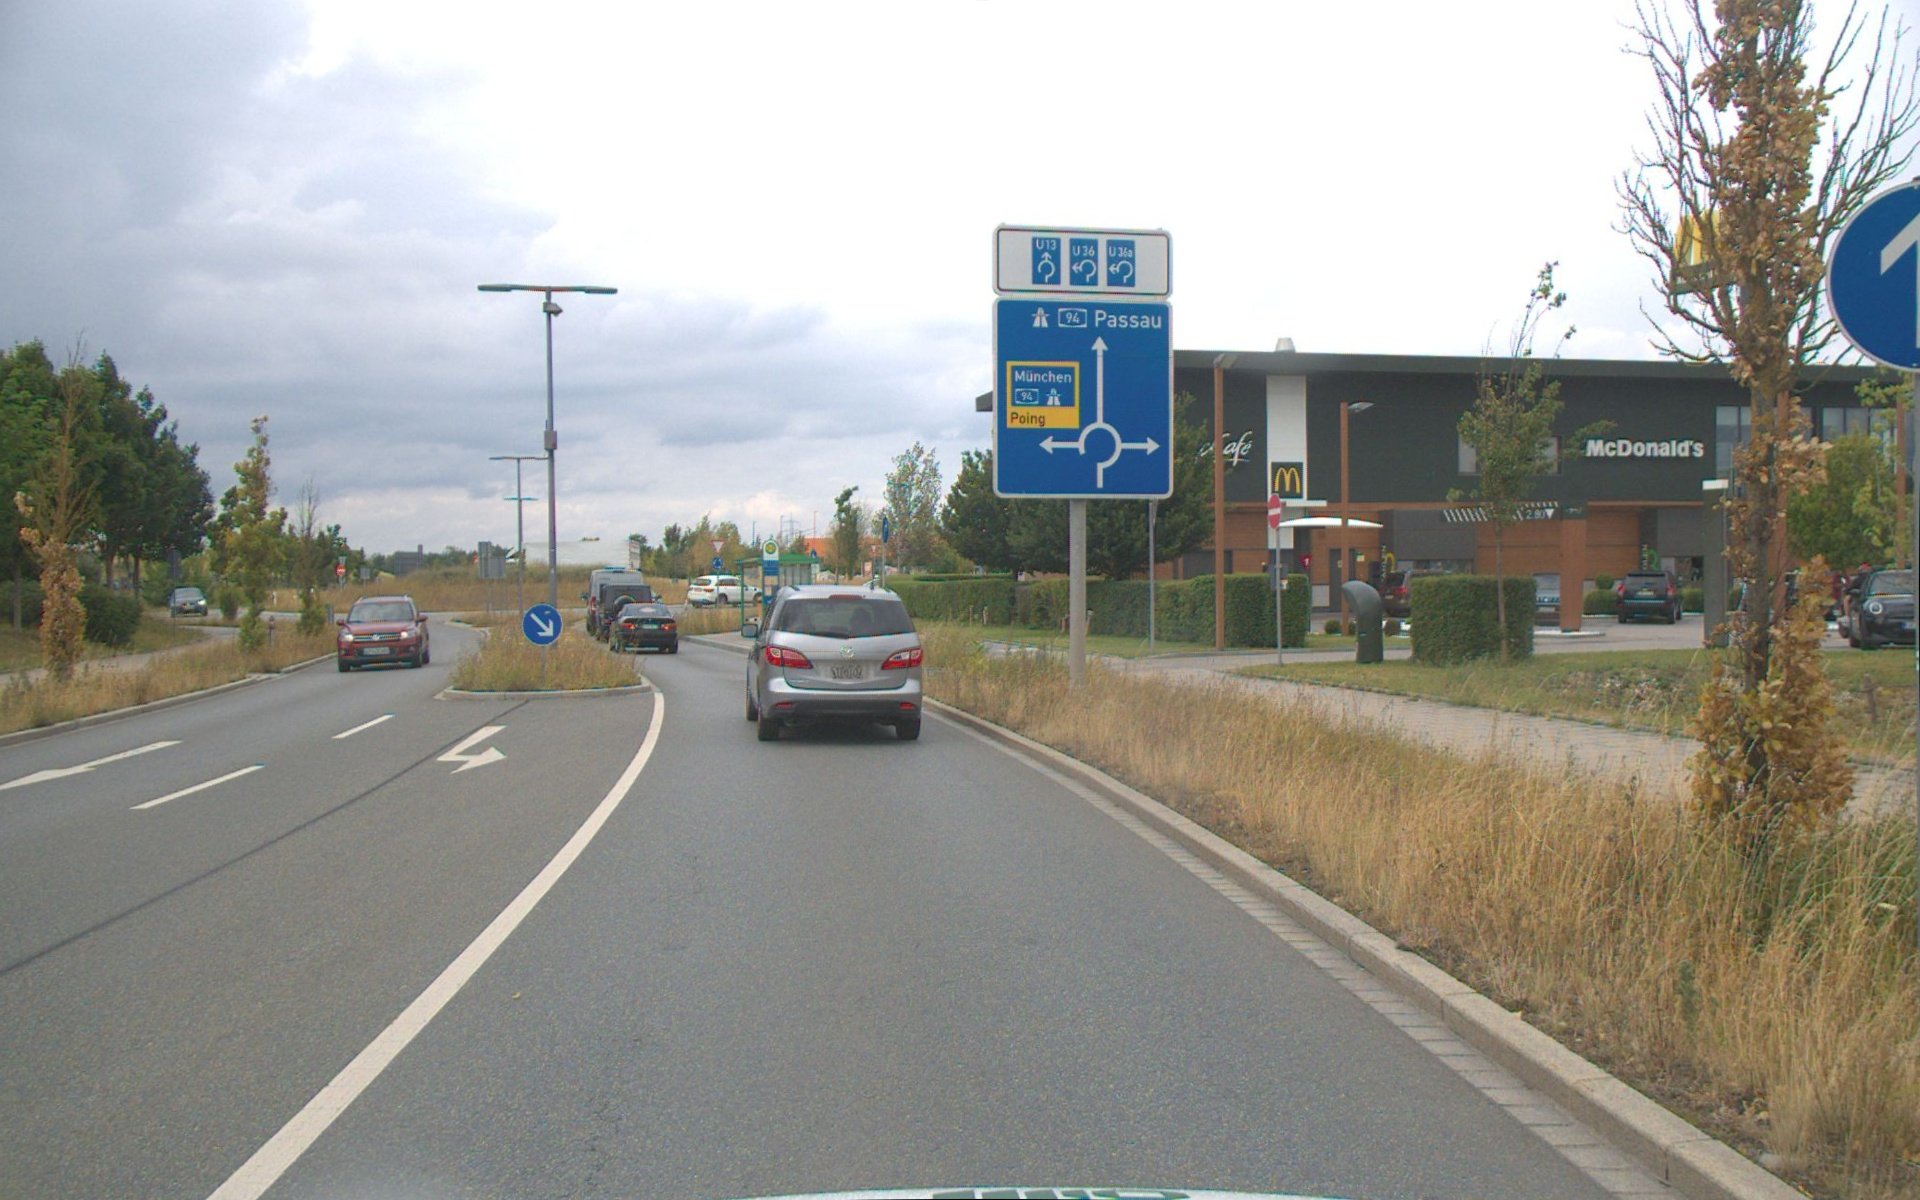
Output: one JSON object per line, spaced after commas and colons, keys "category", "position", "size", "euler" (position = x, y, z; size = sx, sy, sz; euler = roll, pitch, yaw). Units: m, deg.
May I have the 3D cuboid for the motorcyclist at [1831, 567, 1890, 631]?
{"category": "motorcyclist", "position": [19.388, -0.029, 35.612], "size": [0.763, 1.357, 0.896], "euler": [-1, 0, 0]}

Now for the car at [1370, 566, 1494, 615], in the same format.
{"category": "car", "position": [17.230, -0.353, 60.434], "size": [3.922, 1.747, 1.992], "euler": [0, 0, -16]}

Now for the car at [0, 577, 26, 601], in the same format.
{"category": "car", "position": [-79.361, -0.915, 137.516], "size": [1.960, 1.892, 3.984], "euler": [0, 0, -15]}

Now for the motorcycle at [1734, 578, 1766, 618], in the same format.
{"category": "motorcycle", "position": [25.894, -0.074, 54.231], "size": [0.839, 1.266, 1.966], "euler": [0, 0, 22]}

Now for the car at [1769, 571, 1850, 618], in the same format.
{"category": "car", "position": [28.519, -0.195, 55.626], "size": [1.746, 1.523, 4.002], "euler": [0, 0, 17]}

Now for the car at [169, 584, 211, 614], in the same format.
{"category": "car", "position": [-40.130, -0.038, 86.171], "size": [1.820, 1.431, 3.964], "euler": [-3, 1, -27]}

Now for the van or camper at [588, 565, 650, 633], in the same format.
{"category": "van or camper", "position": [-13.335, -0.065, 64.720], "size": [2.262, 2.549, 5.191], "euler": [0, 0, -12]}

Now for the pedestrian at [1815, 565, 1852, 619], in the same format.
{"category": "pedestrian", "position": [23.985, -0.227, 45.413], "size": [0.757, 1.464, 0.620], "euler": [0, 0, 44]}

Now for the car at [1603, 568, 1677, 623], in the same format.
{"category": "car", "position": [22.394, -0.156, 54.414], "size": [2.074, 1.747, 4.228], "euler": [0, 0, 25]}

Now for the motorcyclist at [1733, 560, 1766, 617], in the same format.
{"category": "motorcyclist", "position": [25.884, -0.378, 54.228], "size": [0.941, 1.864, 0.845], "euler": [0, 0, 22]}

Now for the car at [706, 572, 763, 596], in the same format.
{"category": "car", "position": [-14.747, -1.042, 108.036], "size": [1.980, 1.542, 3.945], "euler": [-1, 0, -38]}

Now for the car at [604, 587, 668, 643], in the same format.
{"category": "car", "position": [-11.317, 0.495, 57.598], "size": [2.023, 1.857, 4.770], "euler": [0, 0, -13]}

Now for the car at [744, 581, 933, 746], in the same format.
{"category": "car", "position": [-1.443, 0.611, 18.352], "size": [1.698, 1.628, 3.798], "euler": [1, 0, -10]}

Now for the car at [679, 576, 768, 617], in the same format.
{"category": "car", "position": [-12.356, -0.195, 86.553], "size": [1.961, 2.049, 4.605], "euler": [0, 0, 37]}

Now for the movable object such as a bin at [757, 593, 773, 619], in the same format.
{"category": "movable object such as a bin", "position": [-6.037, 0.185, 51.247], "size": [0.448, 0.812, 0.378], "euler": [0, 0, -17]}

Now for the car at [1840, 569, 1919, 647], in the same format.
{"category": "car", "position": [17.217, 0.108, 30.122], "size": [1.774, 1.336, 3.848], "euler": [-1, 1, 23]}

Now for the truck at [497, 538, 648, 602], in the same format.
{"category": "truck", "position": [-25.551, -1.958, 109.252], "size": [9.108, 3.975, 3.145], "euler": [-1, 0, 5]}

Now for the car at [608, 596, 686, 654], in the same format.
{"category": "car", "position": [-8.709, 0.654, 45.785], "size": [1.814, 1.443, 4.208], "euler": [-1, 1, -15]}

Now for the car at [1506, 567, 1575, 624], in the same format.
{"category": "car", "position": [18.488, -0.152, 52.614], "size": [1.952, 1.747, 4.000], "euler": [0, 0, 21]}

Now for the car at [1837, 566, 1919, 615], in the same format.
{"category": "car", "position": [31.492, -0.325, 56.405], "size": [1.951, 1.609, 4.003], "euler": [0, 0, 15]}

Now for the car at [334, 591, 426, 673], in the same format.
{"category": "car", "position": [-13.492, 0.700, 38.647], "size": [1.771, 1.698, 4.306], "euler": [-3, 1, -17]}

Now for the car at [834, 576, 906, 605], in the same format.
{"category": "car", "position": [-5.775, -0.623, 105.526], "size": [4.513, 1.788, 1.998], "euler": [0, 0, -6]}
